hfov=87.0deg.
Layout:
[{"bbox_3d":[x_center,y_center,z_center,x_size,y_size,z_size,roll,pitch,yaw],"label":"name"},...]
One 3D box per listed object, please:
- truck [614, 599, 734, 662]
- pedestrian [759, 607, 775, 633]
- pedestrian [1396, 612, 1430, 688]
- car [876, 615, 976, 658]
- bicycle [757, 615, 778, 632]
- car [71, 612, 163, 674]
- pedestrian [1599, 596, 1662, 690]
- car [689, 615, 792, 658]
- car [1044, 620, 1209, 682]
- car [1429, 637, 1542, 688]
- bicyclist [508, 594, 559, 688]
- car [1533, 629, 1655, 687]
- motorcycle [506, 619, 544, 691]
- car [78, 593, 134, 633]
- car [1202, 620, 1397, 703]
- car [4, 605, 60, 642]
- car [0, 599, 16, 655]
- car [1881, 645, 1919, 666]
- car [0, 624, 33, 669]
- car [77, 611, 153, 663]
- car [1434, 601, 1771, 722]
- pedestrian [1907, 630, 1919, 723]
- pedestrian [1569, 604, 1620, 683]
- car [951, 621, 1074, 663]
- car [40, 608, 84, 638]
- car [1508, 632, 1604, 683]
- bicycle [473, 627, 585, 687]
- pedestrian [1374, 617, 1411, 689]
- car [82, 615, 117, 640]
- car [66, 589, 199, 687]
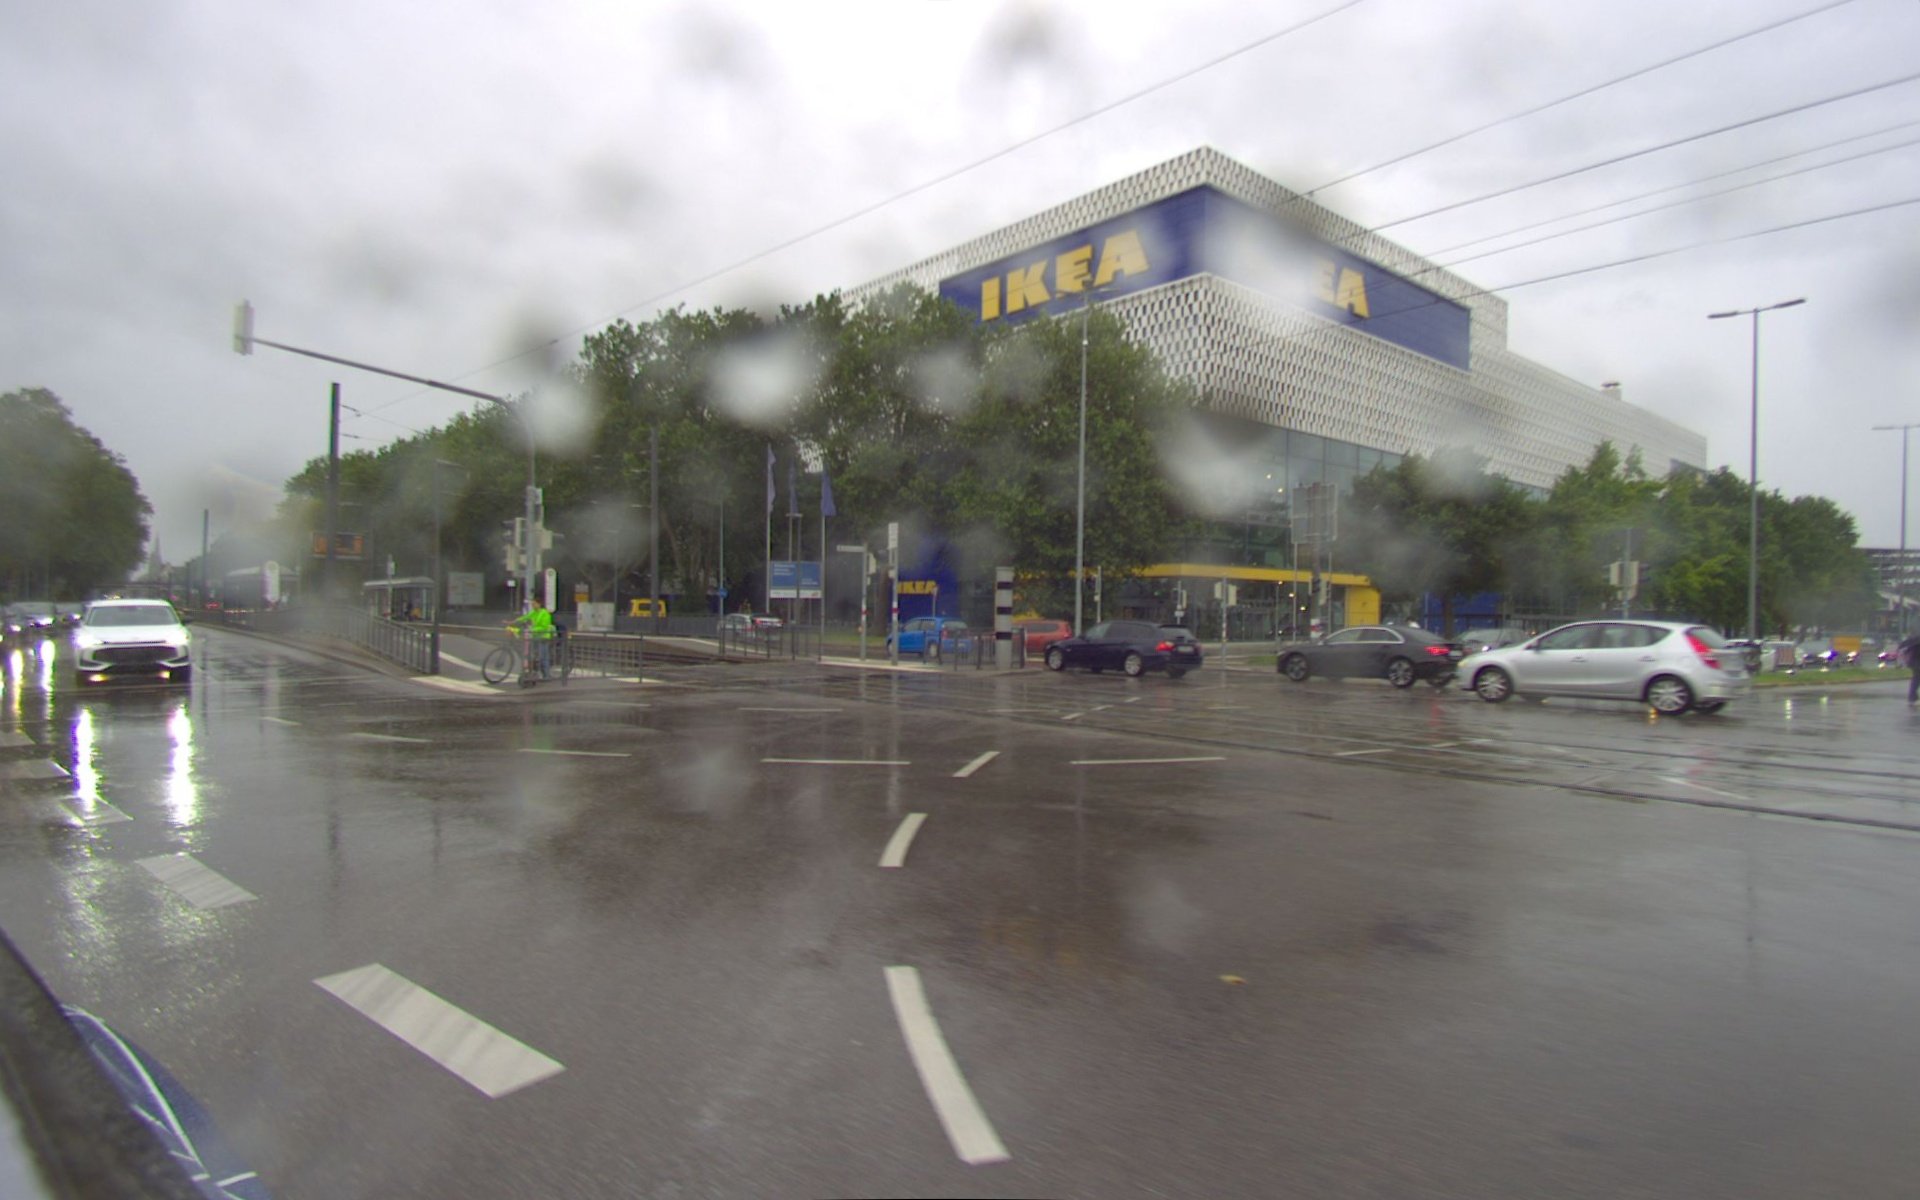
[{"bbox_3d":[-15.596,1.502,54.646,2.706,2.870,9.109,-1,2,-40],"label":"truck"},{"bbox_3d":[-10.256,1.068,53.738,0.686,1.345,0.571,0,1,45],"label":"pedestrian"},{"bbox_3d":[13.153,1.430,29.373,0.562,2.151,0.634,-2,0,-9],"label":"pedestrian"},{"bbox_3d":[-1.285,1.313,36.803,1.562,1.425,3.922,-1,-1,-39],"label":"car"},{"bbox_3d":[-10.220,1.230,53.705,0.566,0.863,1.176,-1,1,-45],"label":"bicycle"},{"bbox_3d":[-21.976,1.055,26.411,1.690,1.424,4.705,-1,0,-40],"label":"car"},{"bbox_3d":[16.959,1.059,25.606,0.905,2.261,0.993,-2,2,-27],"label":"pedestrian"},{"bbox_3d":[-9.184,1.500,41.960,1.968,1.579,5.372,-2,0,-38],"label":"car"},{"bbox_3d":[4.090,1.224,25.448,1.561,1.377,4.211,-1,-1,-35],"label":"car"},{"bbox_3d":[17.833,2.069,34.290,4.220,1.552,1.823,1,-2,-39],"label":"car"},{"bbox_3d":[-8.184,0.771,19.408,0.609,1.745,0.793,-2,0,-43],"label":"bicyclist"},{"bbox_3d":[19.606,1.742,31.231,4.392,1.552,1.823,-1,-1,-39],"label":"car"},{"bbox_3d":[-7.845,0.969,18.268,0.519,1.230,1.406,-2,0,-20],"label":"motorcycle"},{"bbox_3d":[-35.369,0.544,41.897,1.690,1.536,4.049,-1,-1,-41],"label":"car"},{"bbox_3d":[8.509,1.464,25.735,1.783,1.807,4.510,-1,1,-36],"label":"car"},{"bbox_3d":[-41.594,1.066,45.441,1.690,1.536,4.049,-1,-1,-41],"label":"car"},{"bbox_3d":[-28.093,0.807,28.727,1.690,1.536,4.049,-1,-1,-41],"label":"car"},{"bbox_3d":[74.511,4.403,80.212,3.922,1.417,1.606,-1,1,-38],"label":"car"},{"bbox_3d":[-34.707,1.677,36.510,1.690,1.536,4.049,-1,-1,-41],"label":"car"},{"bbox_3d":[-26.940,1.127,32.230,1.726,1.485,4.704,-1,0,-41],"label":"car"},{"bbox_3d":[10.586,0.950,17.014,1.690,1.721,4.439,-1,-1,-36],"label":"car"},{"bbox_3d":[21.351,1.676,22.152,0.756,2.029,0.672,-1,0,-26],"label":"pedestrian"},{"bbox_3d":[16.879,1.132,26.922,0.771,2.029,0.861,-1,0,-23],"label":"pedestrian"},{"bbox_3d":[2.302,1.790,43.671,5.010,1.579,1.992,-2,0,13],"label":"car"},{"bbox_3d":[-48.852,1.279,55.114,1.690,1.536,4.049,-1,-1,-41],"label":"car"},{"bbox_3d":[22.264,2.101,37.765,3.954,1.630,1.763,-1,1,-39],"label":"car"},{"bbox_3d":[-8.249,1.069,19.427,1.843,1.016,0.671,-2,0,-43],"label":"bicycle"},{"bbox_3d":[12.513,1.530,29.274,0.684,2.029,0.629,-2,0,-9],"label":"pedestrian"},{"bbox_3d":[-56.565,1.794,66.489,1.690,1.536,4.049,-1,-1,-41],"label":"car"},{"bbox_3d":[-17.373,0.729,21.212,1.964,1.802,4.560,-1,0,-41],"label":"car"}]
